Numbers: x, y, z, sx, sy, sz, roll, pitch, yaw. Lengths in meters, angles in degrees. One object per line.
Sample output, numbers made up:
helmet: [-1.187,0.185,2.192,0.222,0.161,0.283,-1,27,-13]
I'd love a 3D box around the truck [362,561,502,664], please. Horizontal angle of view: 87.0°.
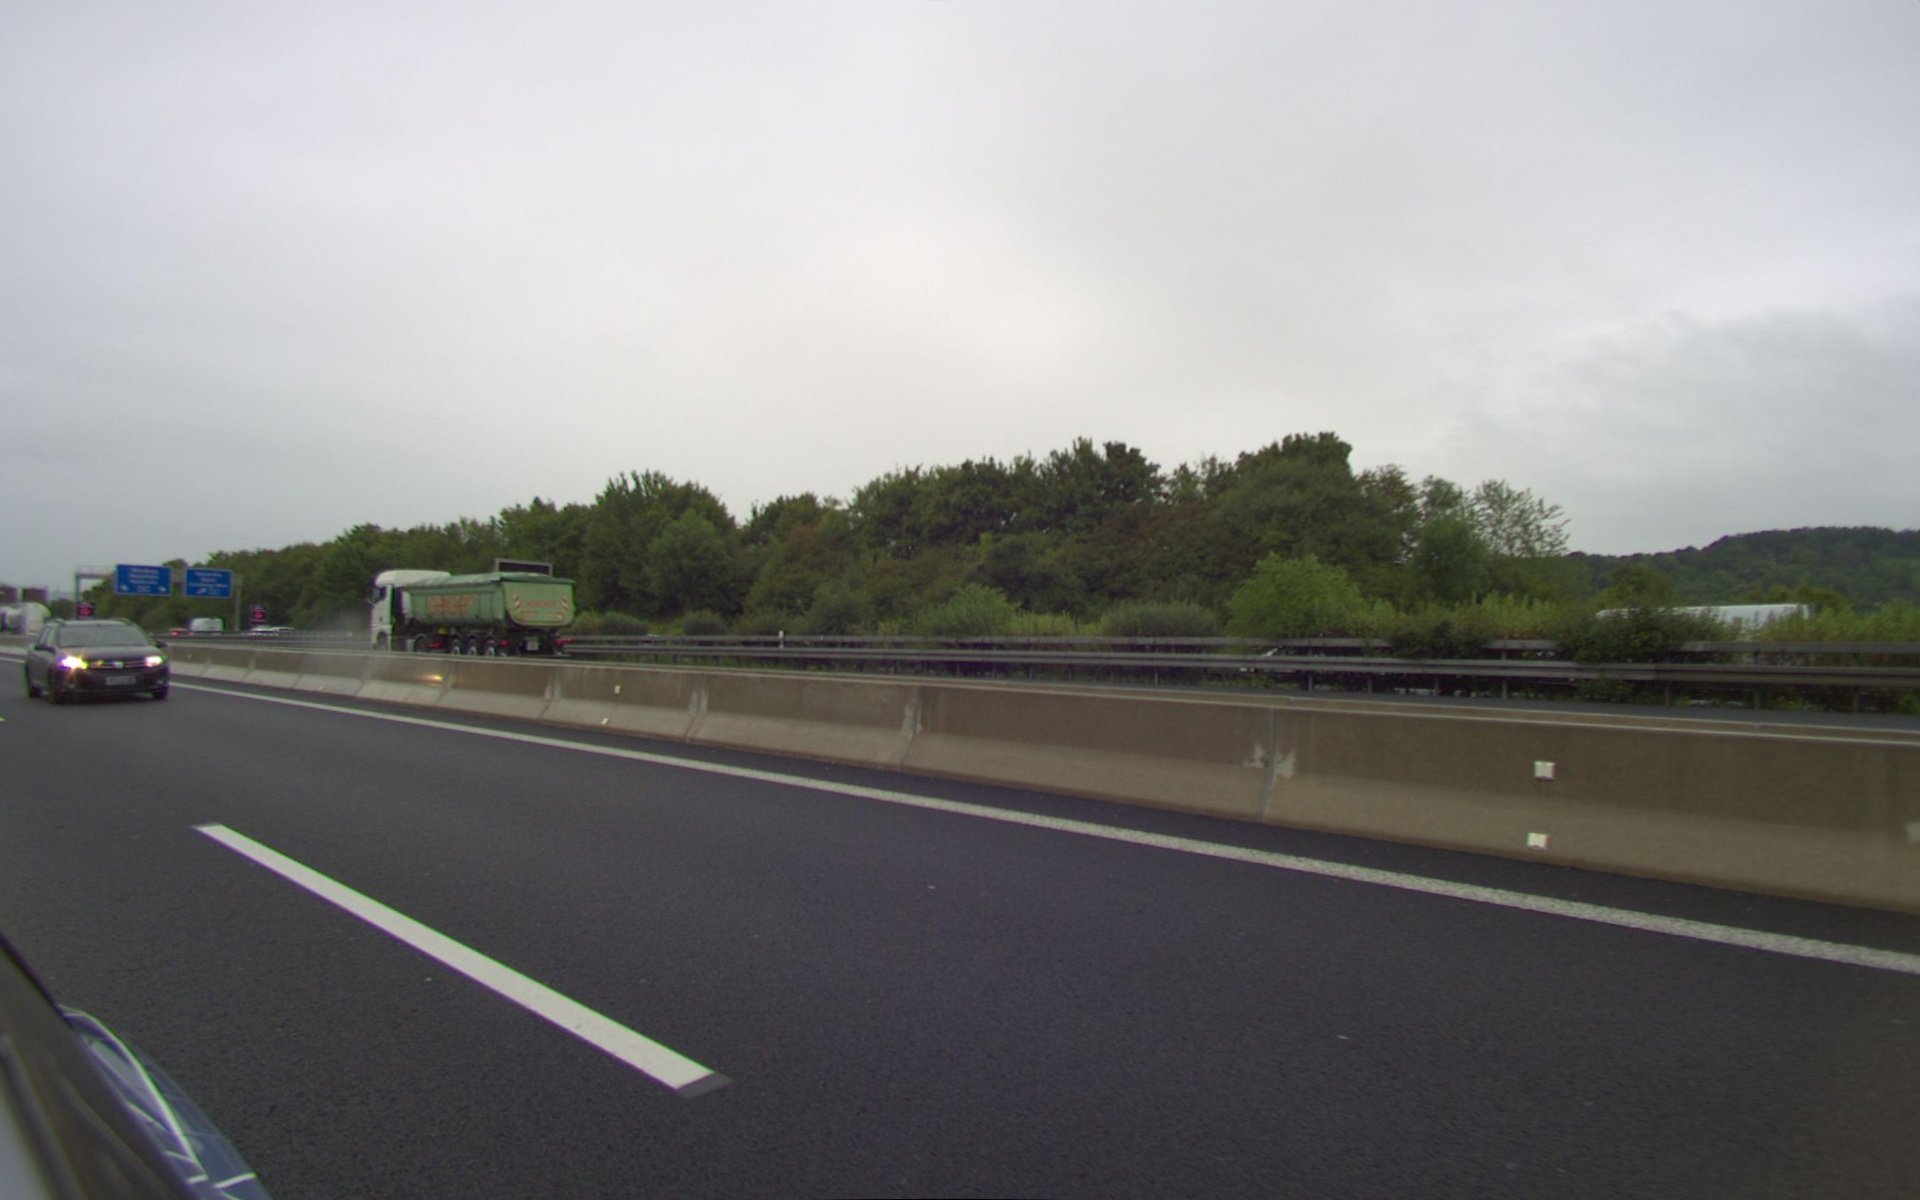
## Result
truck: [-20.855,0.513,39.893,5.940,3.777,2.857,-1,-2,40]

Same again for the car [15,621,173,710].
car: [-16.723,1.165,19.466,4.566,1.501,1.703,-1,-2,42]

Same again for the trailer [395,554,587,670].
trailer: [-17.270,0.459,36.887,8.921,3.777,2.873,-1,-2,40]

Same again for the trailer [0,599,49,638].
trailer: [-94.409,1.834,101.898,10.805,3.765,2.609,-1,-2,41]

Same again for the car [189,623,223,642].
car: [-83.259,3.549,111.743,5.295,2.029,1.855,-1,-2,40]

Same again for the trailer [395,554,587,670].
trailer: [-17.270,0.459,36.887,8.921,3.777,2.873,-1,-2,40]

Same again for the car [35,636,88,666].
car: [-60.066,3.374,67.630,4.535,1.890,1.877,-1,-2,38]

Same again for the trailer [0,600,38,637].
trailer: [-98.003,1.891,105.103,6.488,3.744,2.609,-1,-2,41]

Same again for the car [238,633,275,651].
car: [-61.696,3.687,88.777,3.997,1.519,1.686,-1,-2,40]

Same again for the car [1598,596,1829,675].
car: [18.486,0.863,24.962,4.411,1.800,1.781,-1,-2,42]

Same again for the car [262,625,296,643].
car: [-66.908,3.312,99.440,3.995,1.783,1.687,-1,-2,39]
